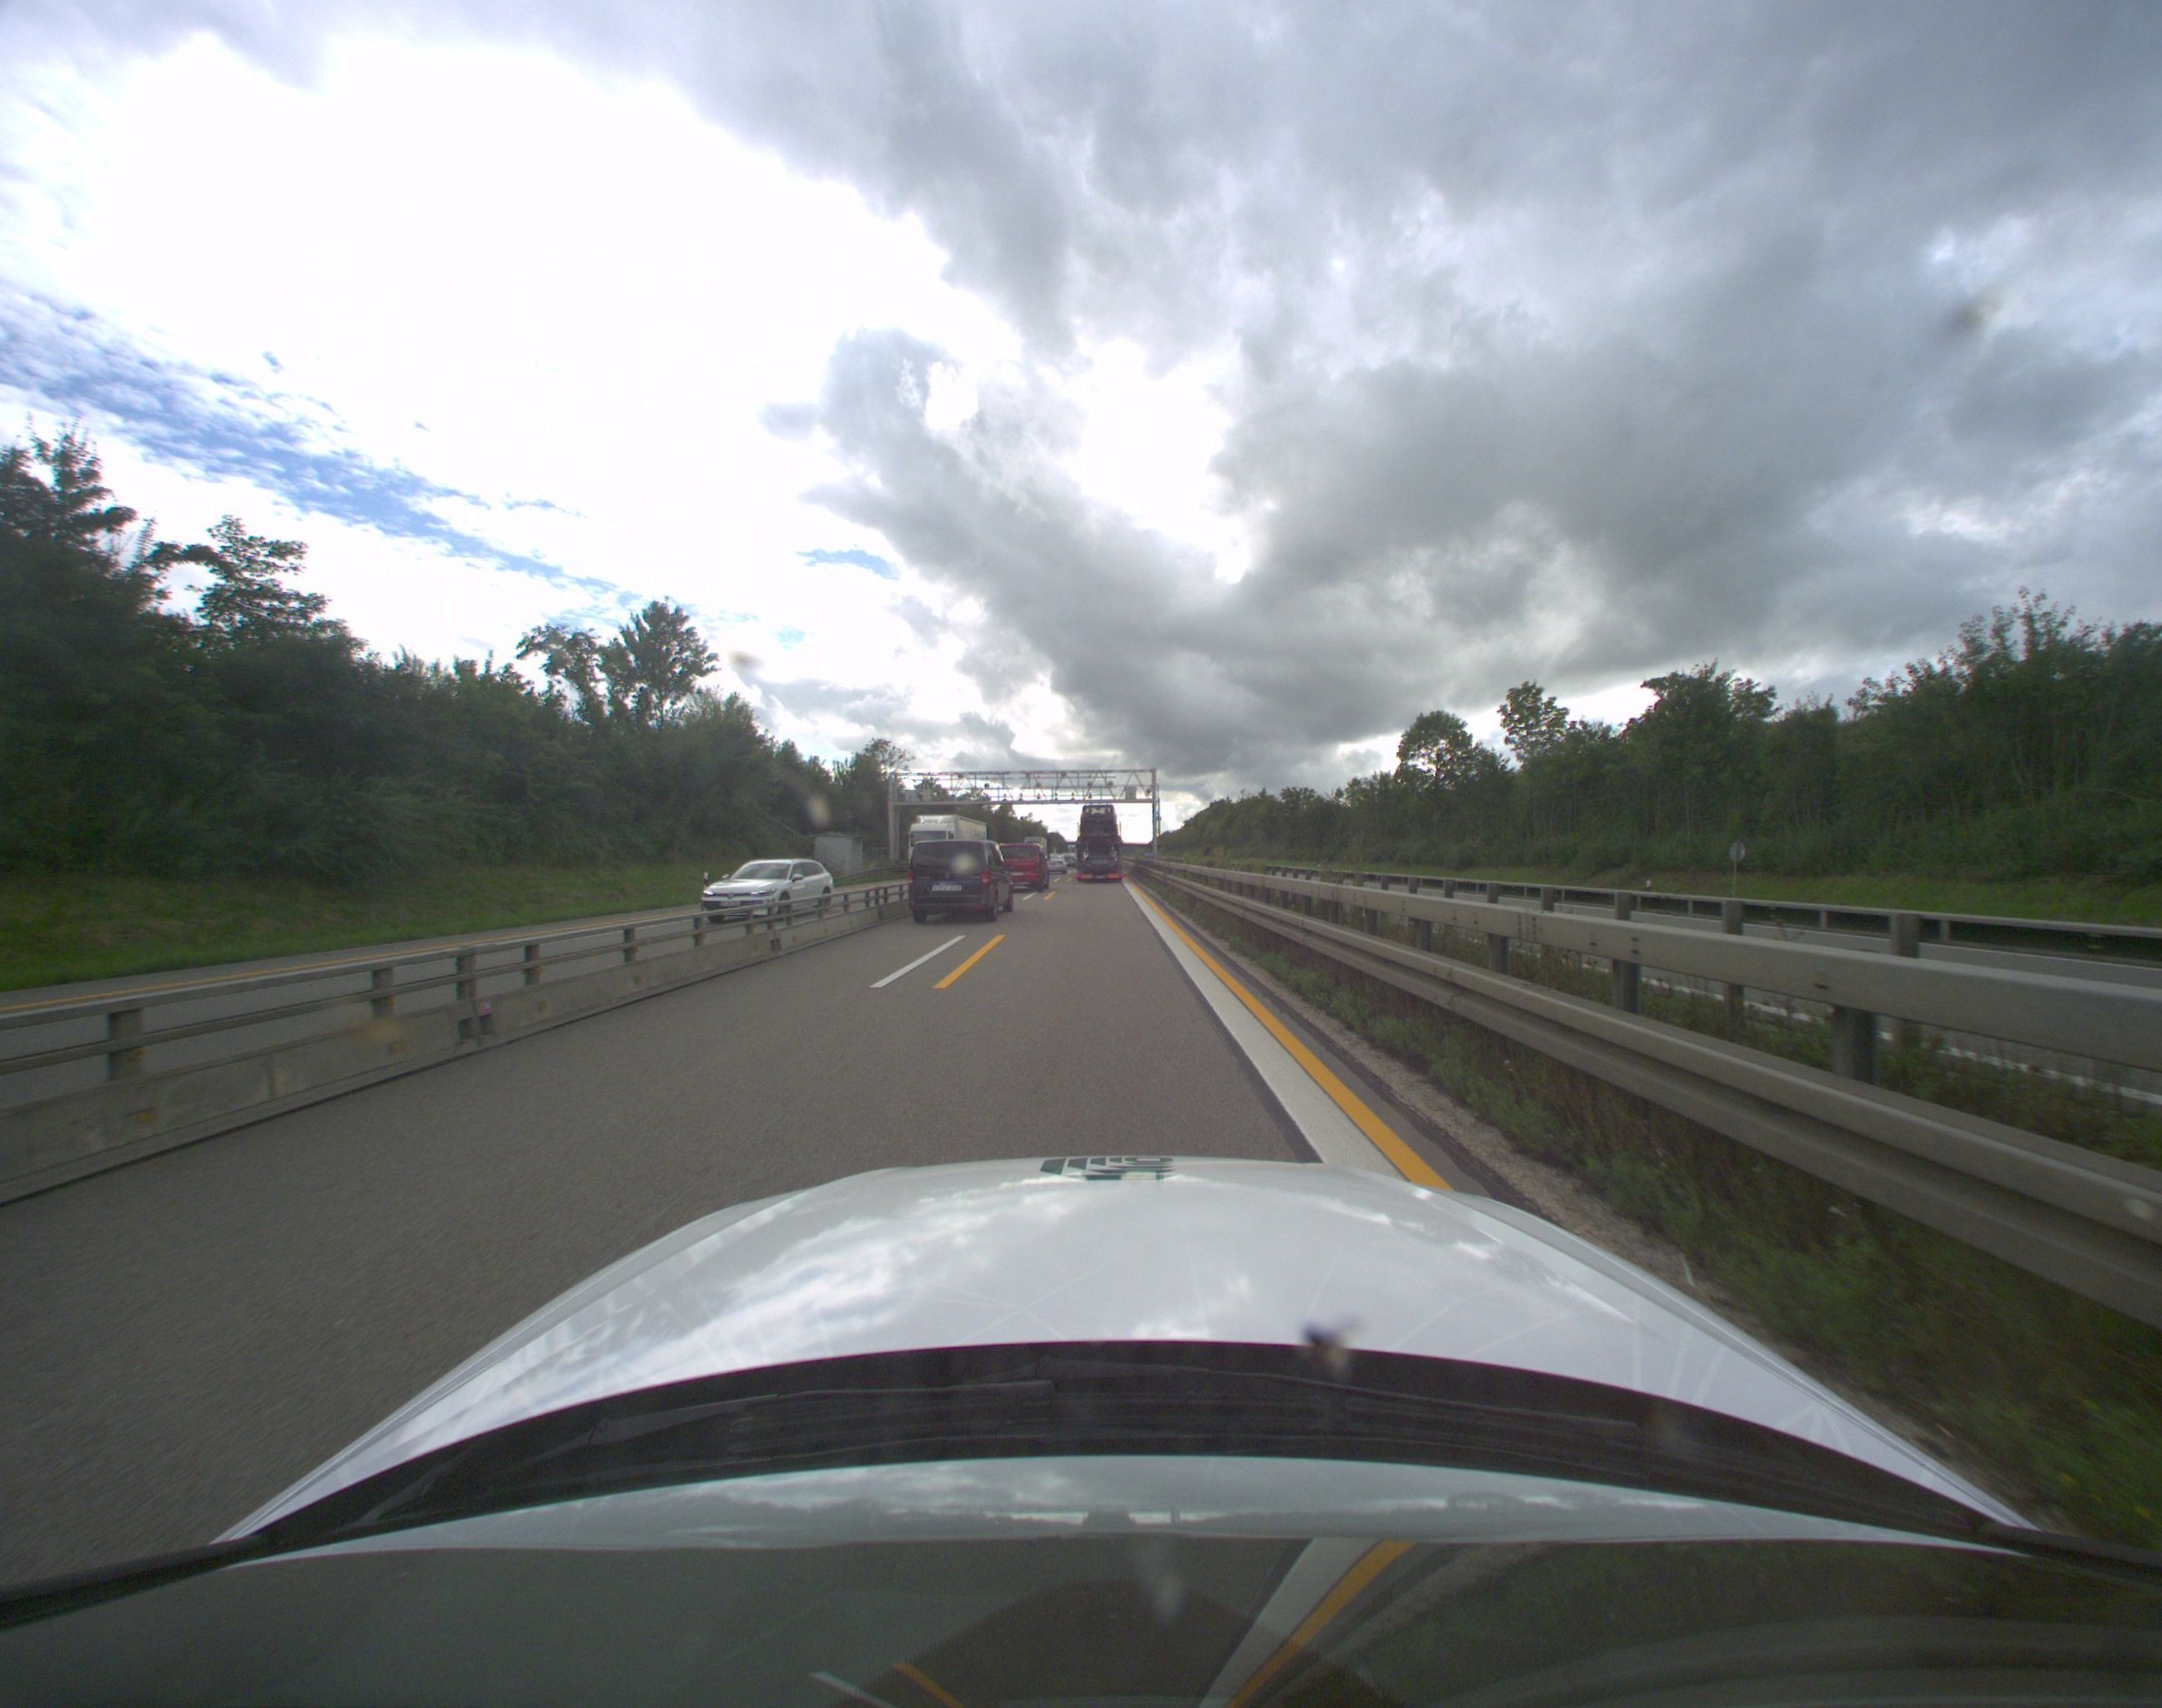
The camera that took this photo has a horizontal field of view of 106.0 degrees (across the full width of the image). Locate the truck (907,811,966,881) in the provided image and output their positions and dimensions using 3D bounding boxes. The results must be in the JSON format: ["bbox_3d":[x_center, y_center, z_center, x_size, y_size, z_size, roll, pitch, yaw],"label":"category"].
[{"bbox_3d":[-8.978,-0.503,51.128,2.589,4.154,5.621,0,0,1],"label":"truck"}]

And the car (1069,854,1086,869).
[{"bbox_3d":[-0.377,0.911,101.189,2.024,1.757,4.578,-1,0,0],"label":"car"}]

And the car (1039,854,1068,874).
[{"bbox_3d":[-2.077,0.735,62.835,2.024,1.430,4.578,-1,0,1],"label":"car"}]

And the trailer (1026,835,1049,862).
[{"bbox_3d":[-6.872,-0.866,130.120,2.589,4.154,13.995,0,0,1],"label":"trailer"}]

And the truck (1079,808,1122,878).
[{"bbox_3d":[1.231,-0.650,51.067,2.506,4.105,5.687,-1,0,2],"label":"truck"}]

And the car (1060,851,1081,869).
[{"bbox_3d":[-1.033,0.645,82.962,2.024,1.757,4.578,-1,0,1],"label":"car"}]

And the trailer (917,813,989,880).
[{"bbox_3d":[-8.830,-0.516,58.153,2.589,4.154,13.995,0,0,1],"label":"trailer"}]

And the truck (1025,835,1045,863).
[{"bbox_3d":[-7.007,-0.817,123.535,2.589,4.154,5.621,0,0,1],"label":"truck"}]

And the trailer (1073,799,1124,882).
[{"bbox_3d":[1.060,-0.667,46.309,2.506,4.105,11.118,-1,0,2],"label":"trailer"}]

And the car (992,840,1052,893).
[{"bbox_3d":[-2.370,0.501,34.073,2.024,2.013,4.579,-1,0,1],"label":"car"}]

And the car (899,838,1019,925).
[{"bbox_3d":[-2.833,0.600,20.292,1.986,1.843,5.611,-1,0,1],"label":"car"}]

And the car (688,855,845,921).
[{"bbox_3d":[-7.911,0.778,21.090,2.000,1.469,4.903,0,0,2],"label":"car"}]
